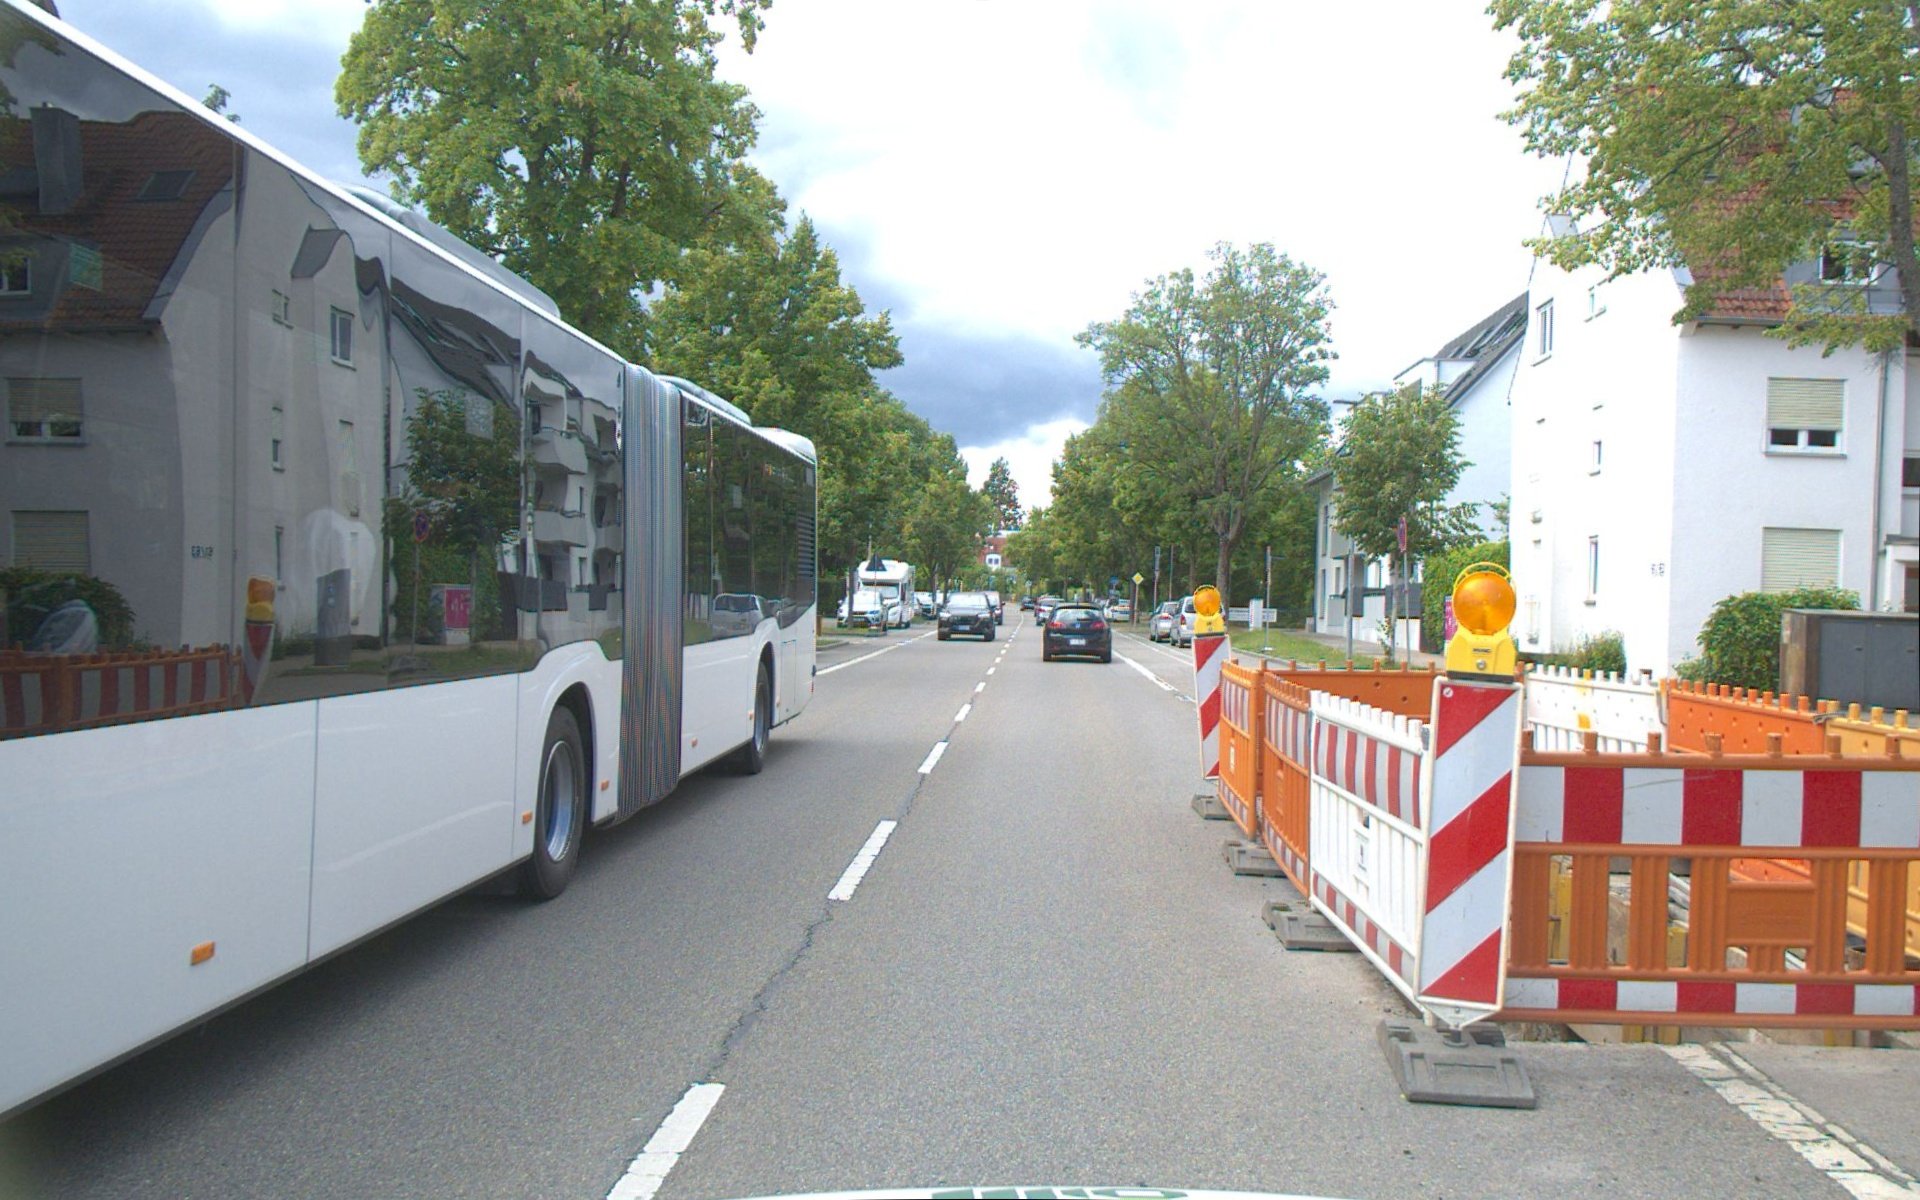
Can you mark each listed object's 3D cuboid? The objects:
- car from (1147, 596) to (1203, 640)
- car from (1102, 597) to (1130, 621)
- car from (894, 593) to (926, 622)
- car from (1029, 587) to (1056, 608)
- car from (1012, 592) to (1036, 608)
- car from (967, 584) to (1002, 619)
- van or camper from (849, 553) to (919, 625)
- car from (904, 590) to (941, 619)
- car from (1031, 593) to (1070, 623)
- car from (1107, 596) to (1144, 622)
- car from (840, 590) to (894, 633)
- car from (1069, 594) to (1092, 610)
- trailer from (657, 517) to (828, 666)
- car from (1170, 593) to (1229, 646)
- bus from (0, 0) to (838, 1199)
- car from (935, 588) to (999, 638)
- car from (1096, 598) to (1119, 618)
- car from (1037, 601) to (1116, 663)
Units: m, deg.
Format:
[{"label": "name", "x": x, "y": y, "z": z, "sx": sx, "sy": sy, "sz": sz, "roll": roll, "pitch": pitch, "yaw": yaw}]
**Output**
[{"label": "car", "x": 7.877, "y": 0.640, "z": 60.869, "sx": 1.652, "sy": 1.519, "sz": 4.228, "roll": 1, "pitch": 0, "yaw": 2}, {"label": "car", "x": 10.120, "y": 0.561, "z": 107.266, "sx": 1.582, "sy": 1.485, "sz": 3.658, "roll": 1, "pitch": 0, "yaw": 2}, {"label": "car", "x": -2.765, "y": 0.408, "z": 91.536, "sx": 1.523, "sy": 1.496, "sz": 4.452, "roll": 1, "pitch": 0, "yaw": 1}, {"label": "car", "x": 6.281, "y": -0.200, "z": 126.355, "sx": 1.952, "sy": 1.557, "sz": 4.000, "roll": 1, "pitch": 0, "yaw": 1}, {"label": "car", "x": 6.164, "y": 0.012, "z": 159.642, "sx": 1.953, "sy": 1.534, "sz": 3.998, "roll": 2, "pitch": -1, "yaw": -2}, {"label": "car", "x": 1.354, "y": 0.076, "z": 90.323, "sx": 1.723, "sy": 1.834, "sz": 4.770, "roll": 1, "pitch": 0, "yaw": 3}, {"label": "van or camper", "x": -3.387, "y": -0.478, "z": 75.530, "sx": 2.384, "sy": 3.062, "sz": 7.696, "roll": 1, "pitch": 0, "yaw": 3}, {"label": "car", "x": -2.259, "y": 0.278, "z": 101.343, "sx": 1.779, "sy": 1.681, "sz": 4.701, "roll": 2, "pitch": 0, "yaw": 4}, {"label": "car", "x": 4.913, "y": 0.453, "z": 90.425, "sx": 1.952, "sy": 1.585, "sz": 4.000, "roll": 1, "pitch": 0, "yaw": 1}, {"label": "car", "x": 9.865, "y": 0.497, "z": 98.859, "sx": 1.979, "sy": 1.468, "sz": 5.027, "roll": 2, "pitch": 0, "yaw": 3}, {"label": "car", "x": -3.725, "y": 0.436, "z": 66.914, "sx": 1.686, "sy": 1.628, "sz": 4.274, "roll": 1, "pitch": 0, "yaw": 3}, {"label": "car", "x": 11.251, "y": 0.197, "z": 154.183, "sx": 1.649, "sy": 1.457, "sz": 4.042, "roll": 1, "pitch": 0, "yaw": -3}, {"label": "trailer", "x": -4.803, "y": -0.138, "z": 37.979, "sx": 2.618, "sy": 2.992, "sz": 7.477, "roll": 2, "pitch": -1, "yaw": 2}, {"label": "car", "x": 7.984, "y": 0.623, "z": 55.292, "sx": 1.598, "sy": 1.694, "sz": 3.649, "roll": 1, "pitch": 0, "yaw": 3}, {"label": "bus", "x": -3.140, "y": -0.154, "z": 8.778, "sx": 2.746, "sy": 3.346, "sz": 18.050, "roll": 1, "pitch": -1, "yaw": 3}, {"label": "car", "x": 0.290, "y": 0.446, "z": 58.458, "sx": 1.951, "sy": 1.697, "sz": 4.591, "roll": 0, "pitch": 0, "yaw": 4}, {"label": "car", "x": 10.617, "y": 0.559, "z": 119.156, "sx": 1.603, "sy": 1.445, "sz": 4.002, "roll": 1, "pitch": 0, "yaw": 4}, {"label": "car", "x": 2.890, "y": 0.770, "z": 41.634, "sx": 1.746, "sy": 1.474, "sz": 3.558, "roll": 1, "pitch": 0, "yaw": 0}]
